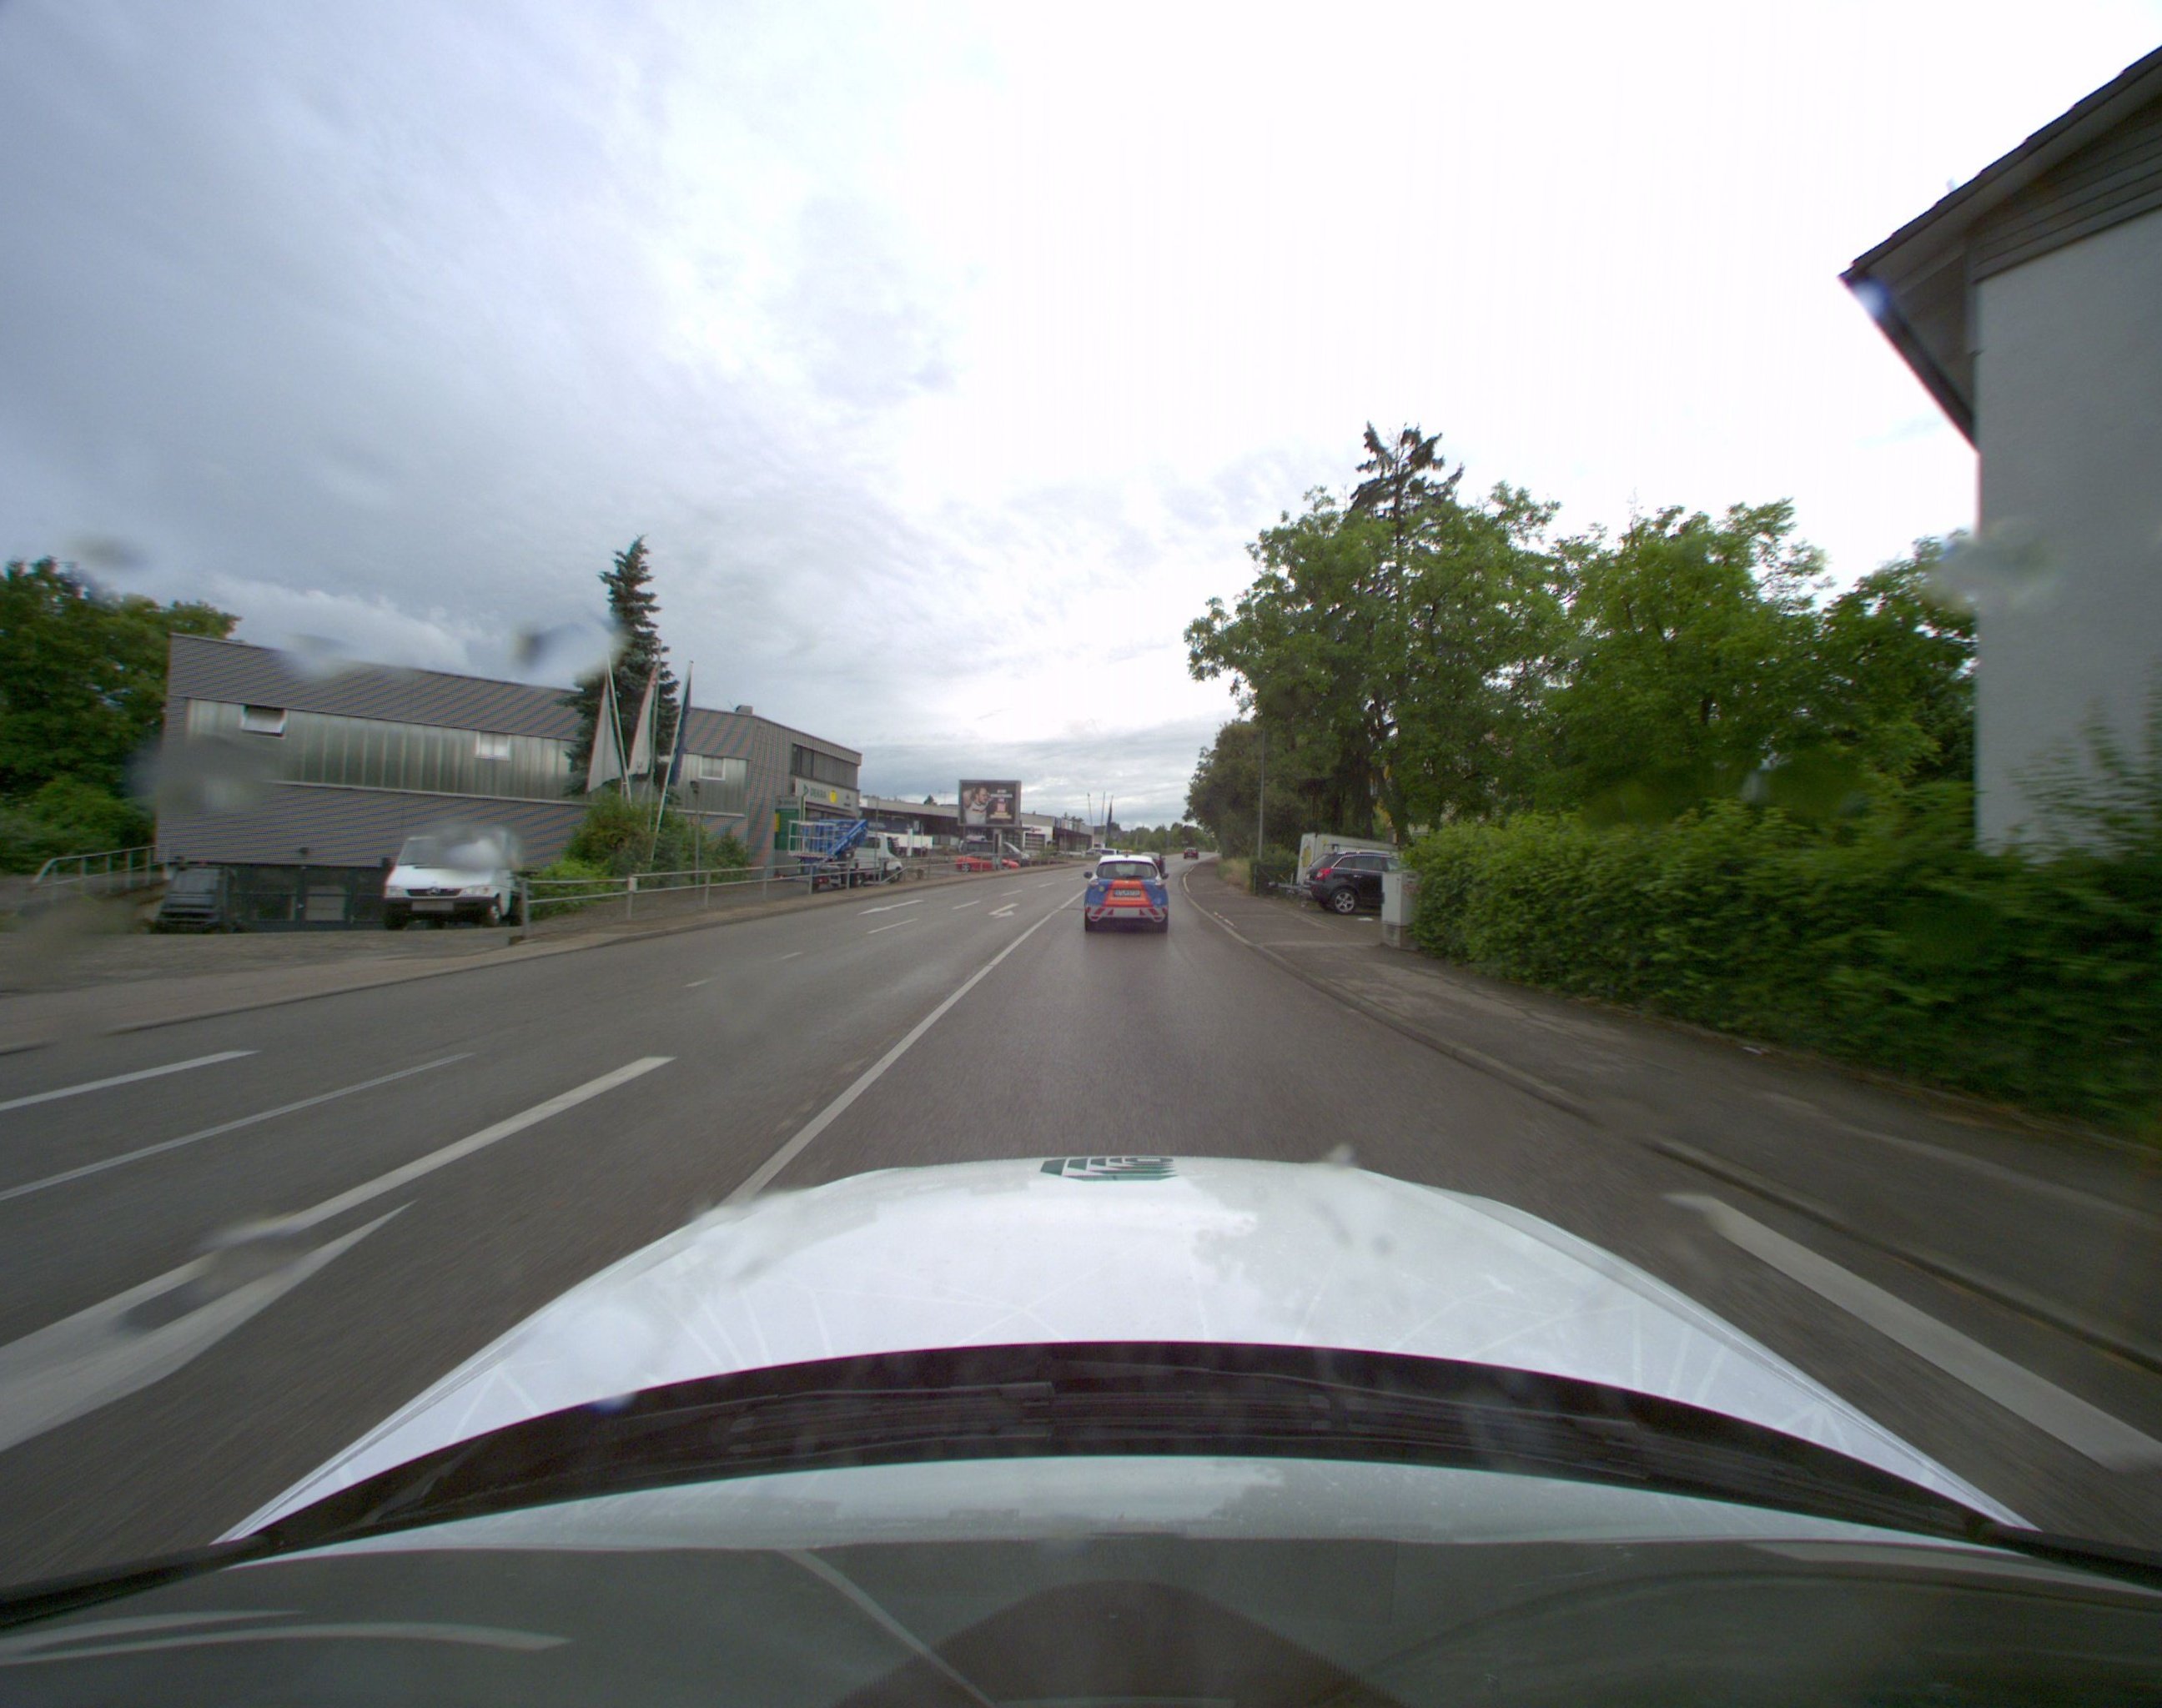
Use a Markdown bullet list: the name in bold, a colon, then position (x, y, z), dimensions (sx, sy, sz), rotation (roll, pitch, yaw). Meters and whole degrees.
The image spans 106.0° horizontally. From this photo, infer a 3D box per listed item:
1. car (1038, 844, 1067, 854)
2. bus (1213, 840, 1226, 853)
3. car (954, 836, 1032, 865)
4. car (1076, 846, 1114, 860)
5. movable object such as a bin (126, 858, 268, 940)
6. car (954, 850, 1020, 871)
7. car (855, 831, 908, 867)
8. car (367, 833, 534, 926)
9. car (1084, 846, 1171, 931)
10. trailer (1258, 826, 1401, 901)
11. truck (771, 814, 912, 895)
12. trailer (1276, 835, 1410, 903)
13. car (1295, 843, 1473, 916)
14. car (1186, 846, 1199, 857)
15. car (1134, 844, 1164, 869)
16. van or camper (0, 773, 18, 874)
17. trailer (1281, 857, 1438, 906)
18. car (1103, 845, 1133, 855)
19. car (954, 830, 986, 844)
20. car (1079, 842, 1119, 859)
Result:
- **car**: position (-4.209, -0.728, 119.387), dimensions (1.965, 1.416, 3.973), rotation (0, 1, -45)
- **bus**: position (36.550, -1.919, 215.331), dimensions (2.895, 3.169, 11.487), rotation (1, 0, 7)
- **car**: position (-6.045, -0.220, 56.271), dimensions (5.047, 1.870, 1.824), rotation (1, 0, 2)
- **car**: position (1.633, -0.077, 92.177), dimensions (3.984, 1.478, 1.829), rotation (1, 1, 10)
- **movable object such as a bin**: position (-23.738, 1.256, 22.050), dimensions (1.670, 2.014, 3.956), rotation (1, -5, -34)
- **car**: position (-6.094, 0.417, 53.243), dimensions (4.081, 1.267, 1.769), rotation (1, 0, -2)
- **car**: position (-12.249, -0.348, 49.681), dimensions (2.004, 1.987, 4.835), rotation (2, 1, -27)
- **car**: position (-14.277, 0.497, 18.759), dimensions (2.067, 1.871, 4.247), rotation (1, 0, -25)
- **car**: position (0.919, 0.675, 17.741), dimensions (1.652, 1.593, 3.568), rotation (3, 0, 0)
- **trailer**: position (8.978, 0.335, 29.630), dimensions (4.526, 2.400, 1.946), rotation (3, 0, -4)
- **truck**: position (-8.720, -0.098, 30.790), dimensions (1.982, 2.632, 7.911), rotation (1, 2, 8)
- **trailer**: position (8.792, 0.478, 27.559), dimensions (3.936, 2.022, 1.688), rotation (3, 0, 2)
- **car**: position (8.239, 0.651, 22.512), dimensions (4.193, 1.749, 1.987), rotation (2, 1, 4)
- **car**: position (14.645, -0.270, 107.089), dimensions (1.605, 1.407, 3.506), rotation (1, 0, 9)
- **car**: position (4.585, 0.150, 54.585), dimensions (1.793, 1.590, 3.570), rotation (1, 0, 7)
- **van or camper**: position (-29.994, -0.829, 19.659), dimensions (2.486, 2.895, 8.036), rotation (6, -1, -33)
- **trailer**: position (8.673, 0.845, 25.584), dimensions (4.379, 1.288, 1.573), rotation (2, 1, 2)
- **car**: position (5.148, -0.580, 112.949), dimensions (4.040, 1.291, 1.809), rotation (1, 1, 8)
- **car**: position (-12.367, -1.845, 91.236), dimensions (1.803, 1.478, 4.042), rotation (2, 1, 20)
- **car**: position (2.131, -0.431, 94.710), dimensions (4.385, 1.797, 1.940), rotation (1, 1, 10)
